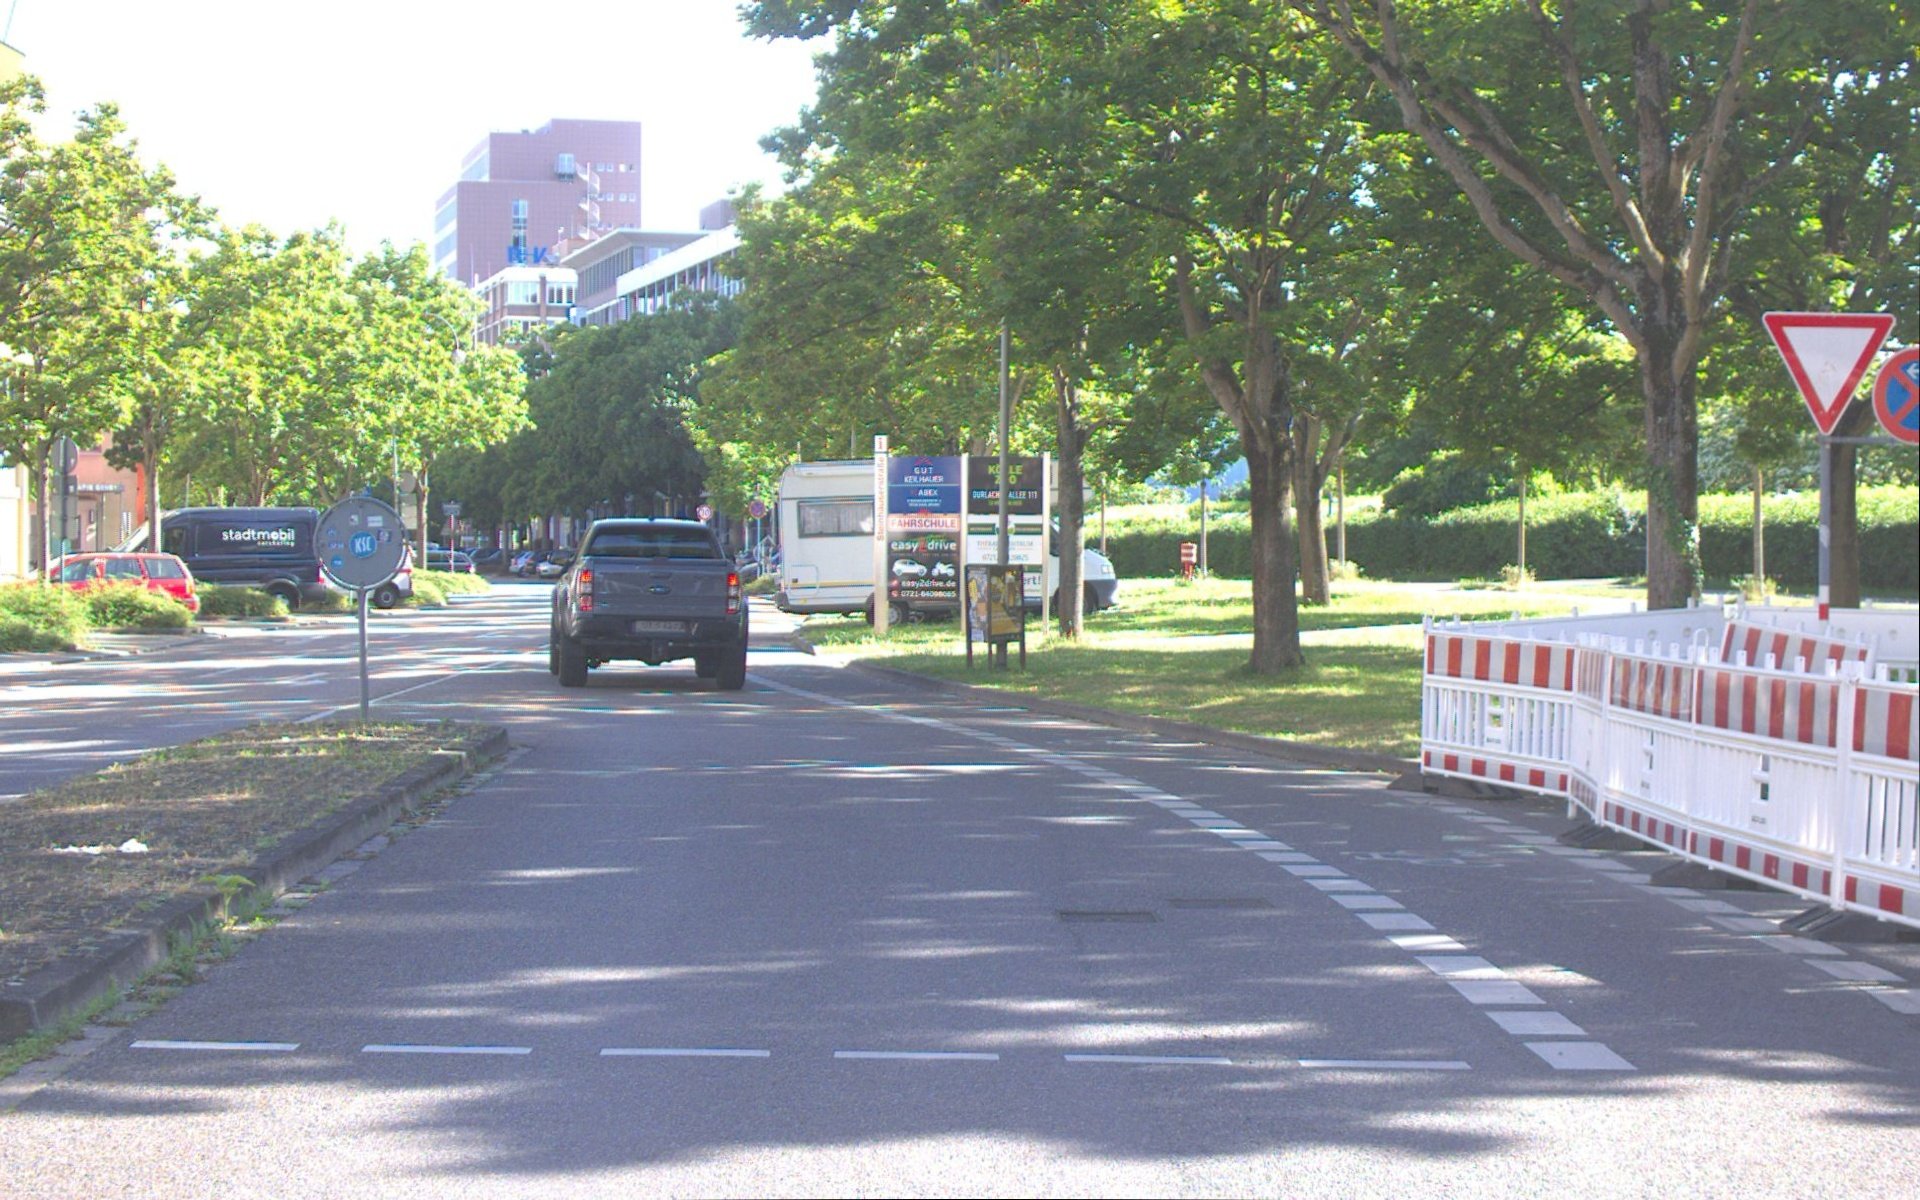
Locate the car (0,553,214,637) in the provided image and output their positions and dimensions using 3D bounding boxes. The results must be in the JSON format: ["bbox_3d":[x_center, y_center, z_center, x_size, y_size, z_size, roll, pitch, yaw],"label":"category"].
[{"bbox_3d":[-16.615,-0.117,65.309,4.406,1.547,1.922,-1,1,-27],"label":"car"}]

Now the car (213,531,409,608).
[{"bbox_3d":[-17.726,-0.852,93.968,4.885,2.076,1.985,-1,1,-37],"label":"car"}]

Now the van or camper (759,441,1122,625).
[{"bbox_3d":[-0.394,-1.163,59.731,6.078,2.918,2.576,-2,1,-4],"label":"van or camper"}]

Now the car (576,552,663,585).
[{"bbox_3d":[-16.187,-1.489,163.498,3.946,1.392,1.517,-2,1,-11],"label":"car"}]

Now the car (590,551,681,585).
[{"bbox_3d":[-14.775,-1.457,156.367,3.946,1.392,1.517,-2,1,-11],"label":"car"}]

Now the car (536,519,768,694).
[{"bbox_3d":[-3.525,0.016,38.548,2.132,1.829,4.942,0,1,-10],"label":"car"}]

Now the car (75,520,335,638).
[{"bbox_3d":[-16.651,-0.490,75.896,5.260,2.537,1.986,-1,1,-28],"label":"car"}]
